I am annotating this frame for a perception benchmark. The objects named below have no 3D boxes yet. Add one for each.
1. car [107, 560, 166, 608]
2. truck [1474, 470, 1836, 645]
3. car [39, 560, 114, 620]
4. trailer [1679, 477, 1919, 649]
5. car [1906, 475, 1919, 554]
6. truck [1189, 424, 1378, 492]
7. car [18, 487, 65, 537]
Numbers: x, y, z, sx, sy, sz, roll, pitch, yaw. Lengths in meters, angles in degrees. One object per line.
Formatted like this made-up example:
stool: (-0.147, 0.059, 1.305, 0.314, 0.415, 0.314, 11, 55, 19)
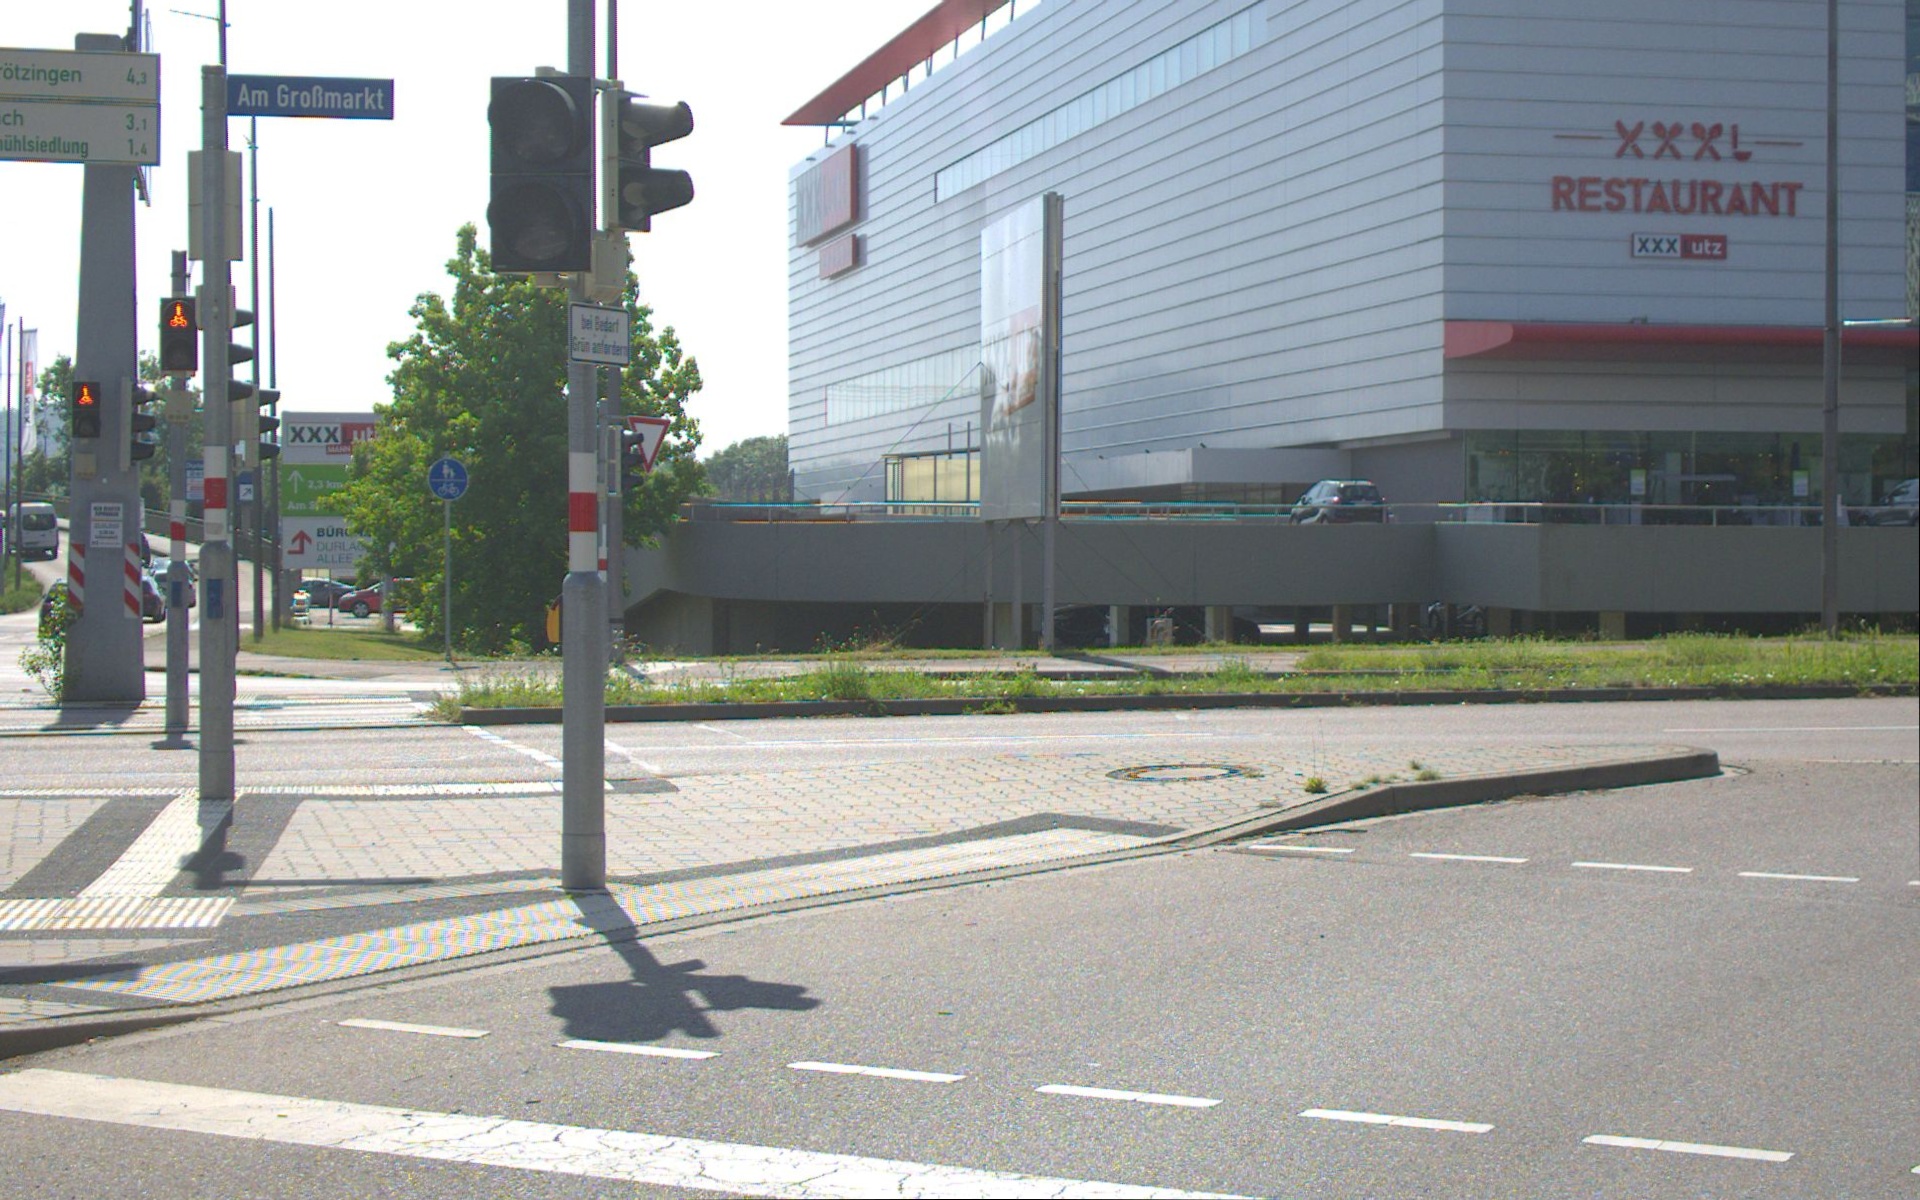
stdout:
car: (-26.235, -0.517, 109.610, 1.688, 1.354, 4.002, 2, 2, -12)
truck: (10.511, -0.652, 52.112, 4.879, 2.415, 2.001, 2, 2, -11)
car: (-22.650, -0.270, 88.233, 1.688, 1.354, 4.002, 2, 2, -12)
trailer: (17.209, -0.419, 53.382, 11.867, 2.460, 2.001, 2, 2, -10)
car: (26.444, -2.094, 87.530, 3.985, 2.006, 2.001, 2, 2, -15)
truck: (10.829, -4.751, 115.184, 5.908, 2.006, 2.001, 2, 2, -12)
car: (-45.330, -4.355, 169.714, 1.993, 2.313, 4.002, 2, 2, -12)
